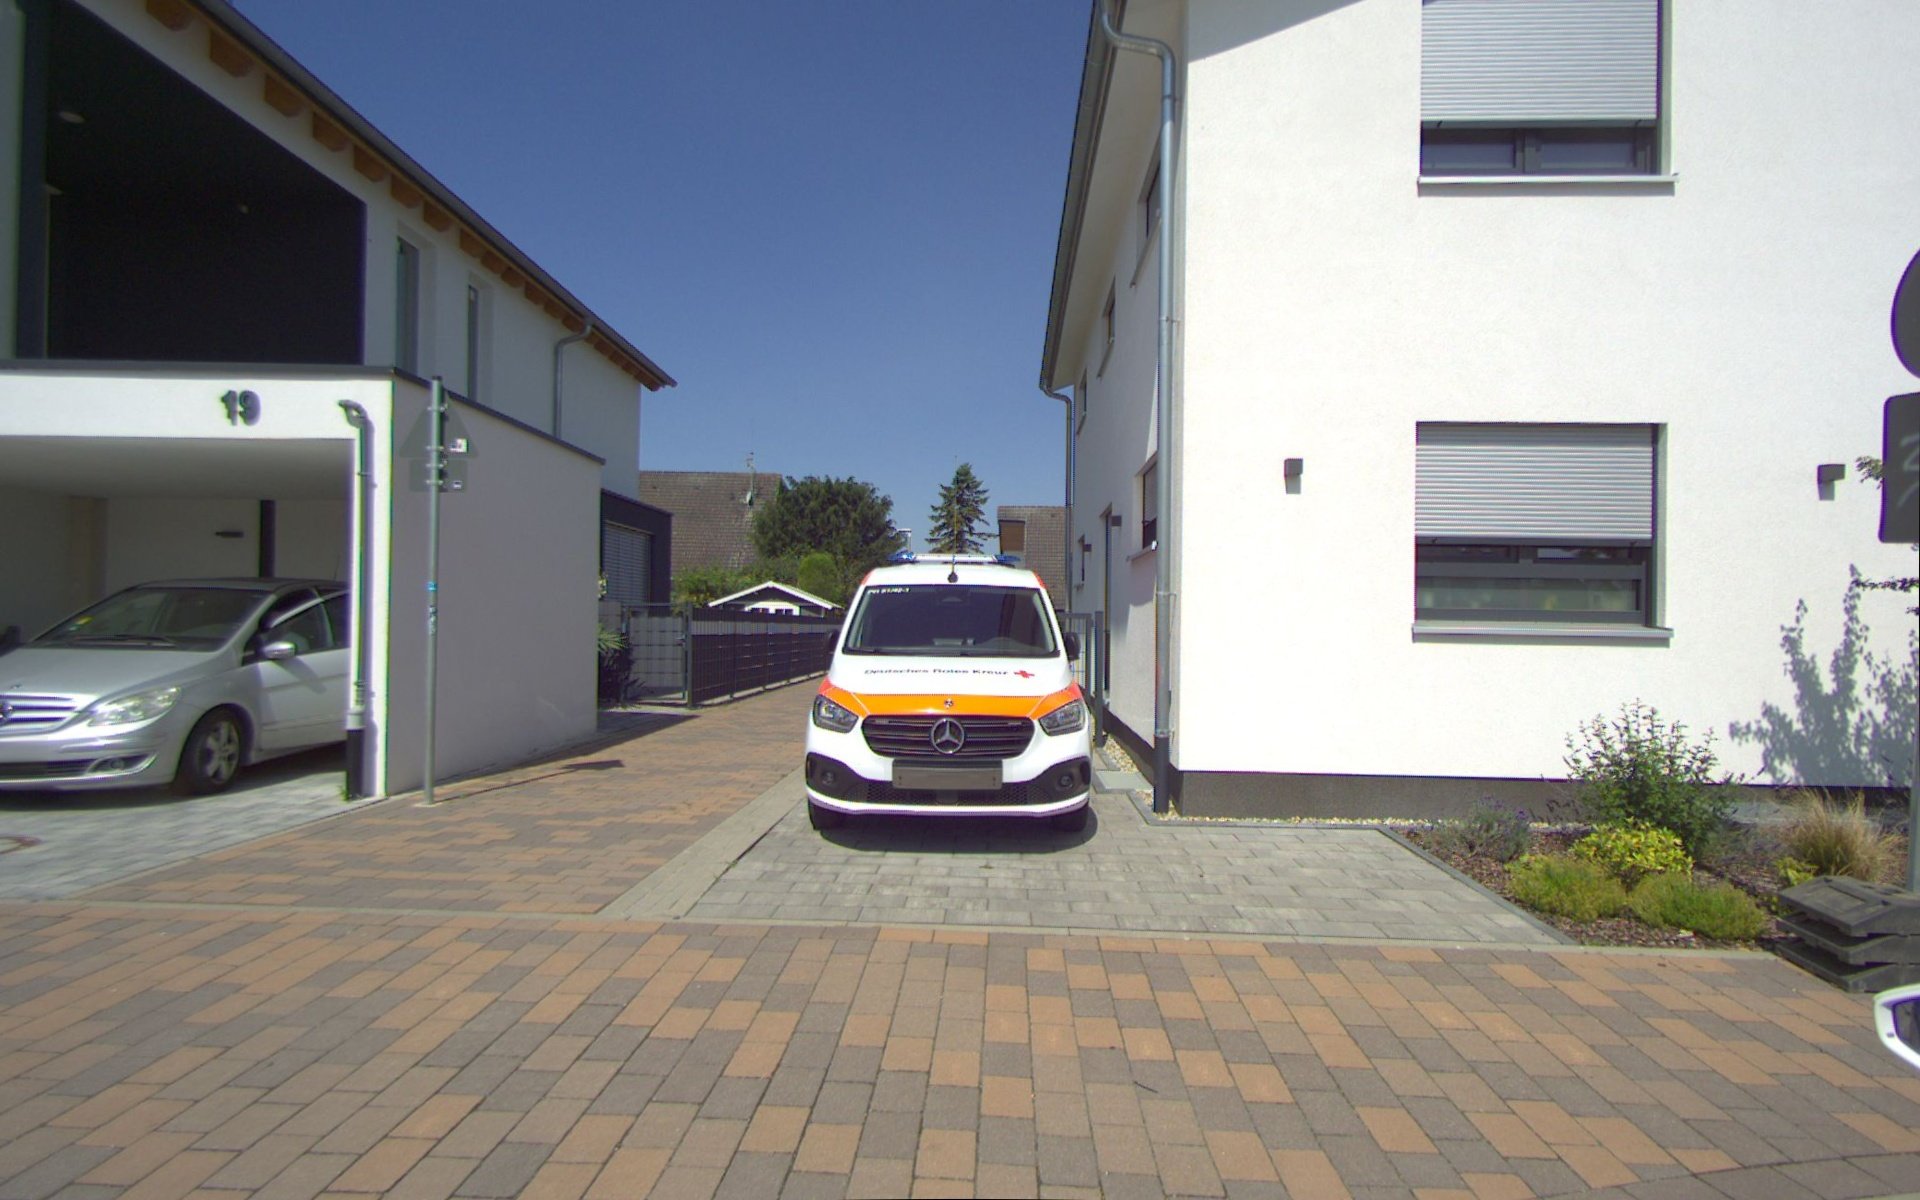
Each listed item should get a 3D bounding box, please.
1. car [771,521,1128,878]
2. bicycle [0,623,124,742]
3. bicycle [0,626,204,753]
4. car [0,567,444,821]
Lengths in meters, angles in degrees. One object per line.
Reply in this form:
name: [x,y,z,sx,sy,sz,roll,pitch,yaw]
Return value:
car: [-0.039,0.597,7.808,1.900,1.899,4.752,1,-1,0]
bicycle: [-9.888,0.829,10.412,0.764,1.141,2.131,2,-1,-5]
bicycle: [-8.992,0.856,10.382,0.716,1.141,2.133,2,-1,0]
car: [-6.167,0.644,8.364,1.711,1.582,4.165,1,-2,-2]
